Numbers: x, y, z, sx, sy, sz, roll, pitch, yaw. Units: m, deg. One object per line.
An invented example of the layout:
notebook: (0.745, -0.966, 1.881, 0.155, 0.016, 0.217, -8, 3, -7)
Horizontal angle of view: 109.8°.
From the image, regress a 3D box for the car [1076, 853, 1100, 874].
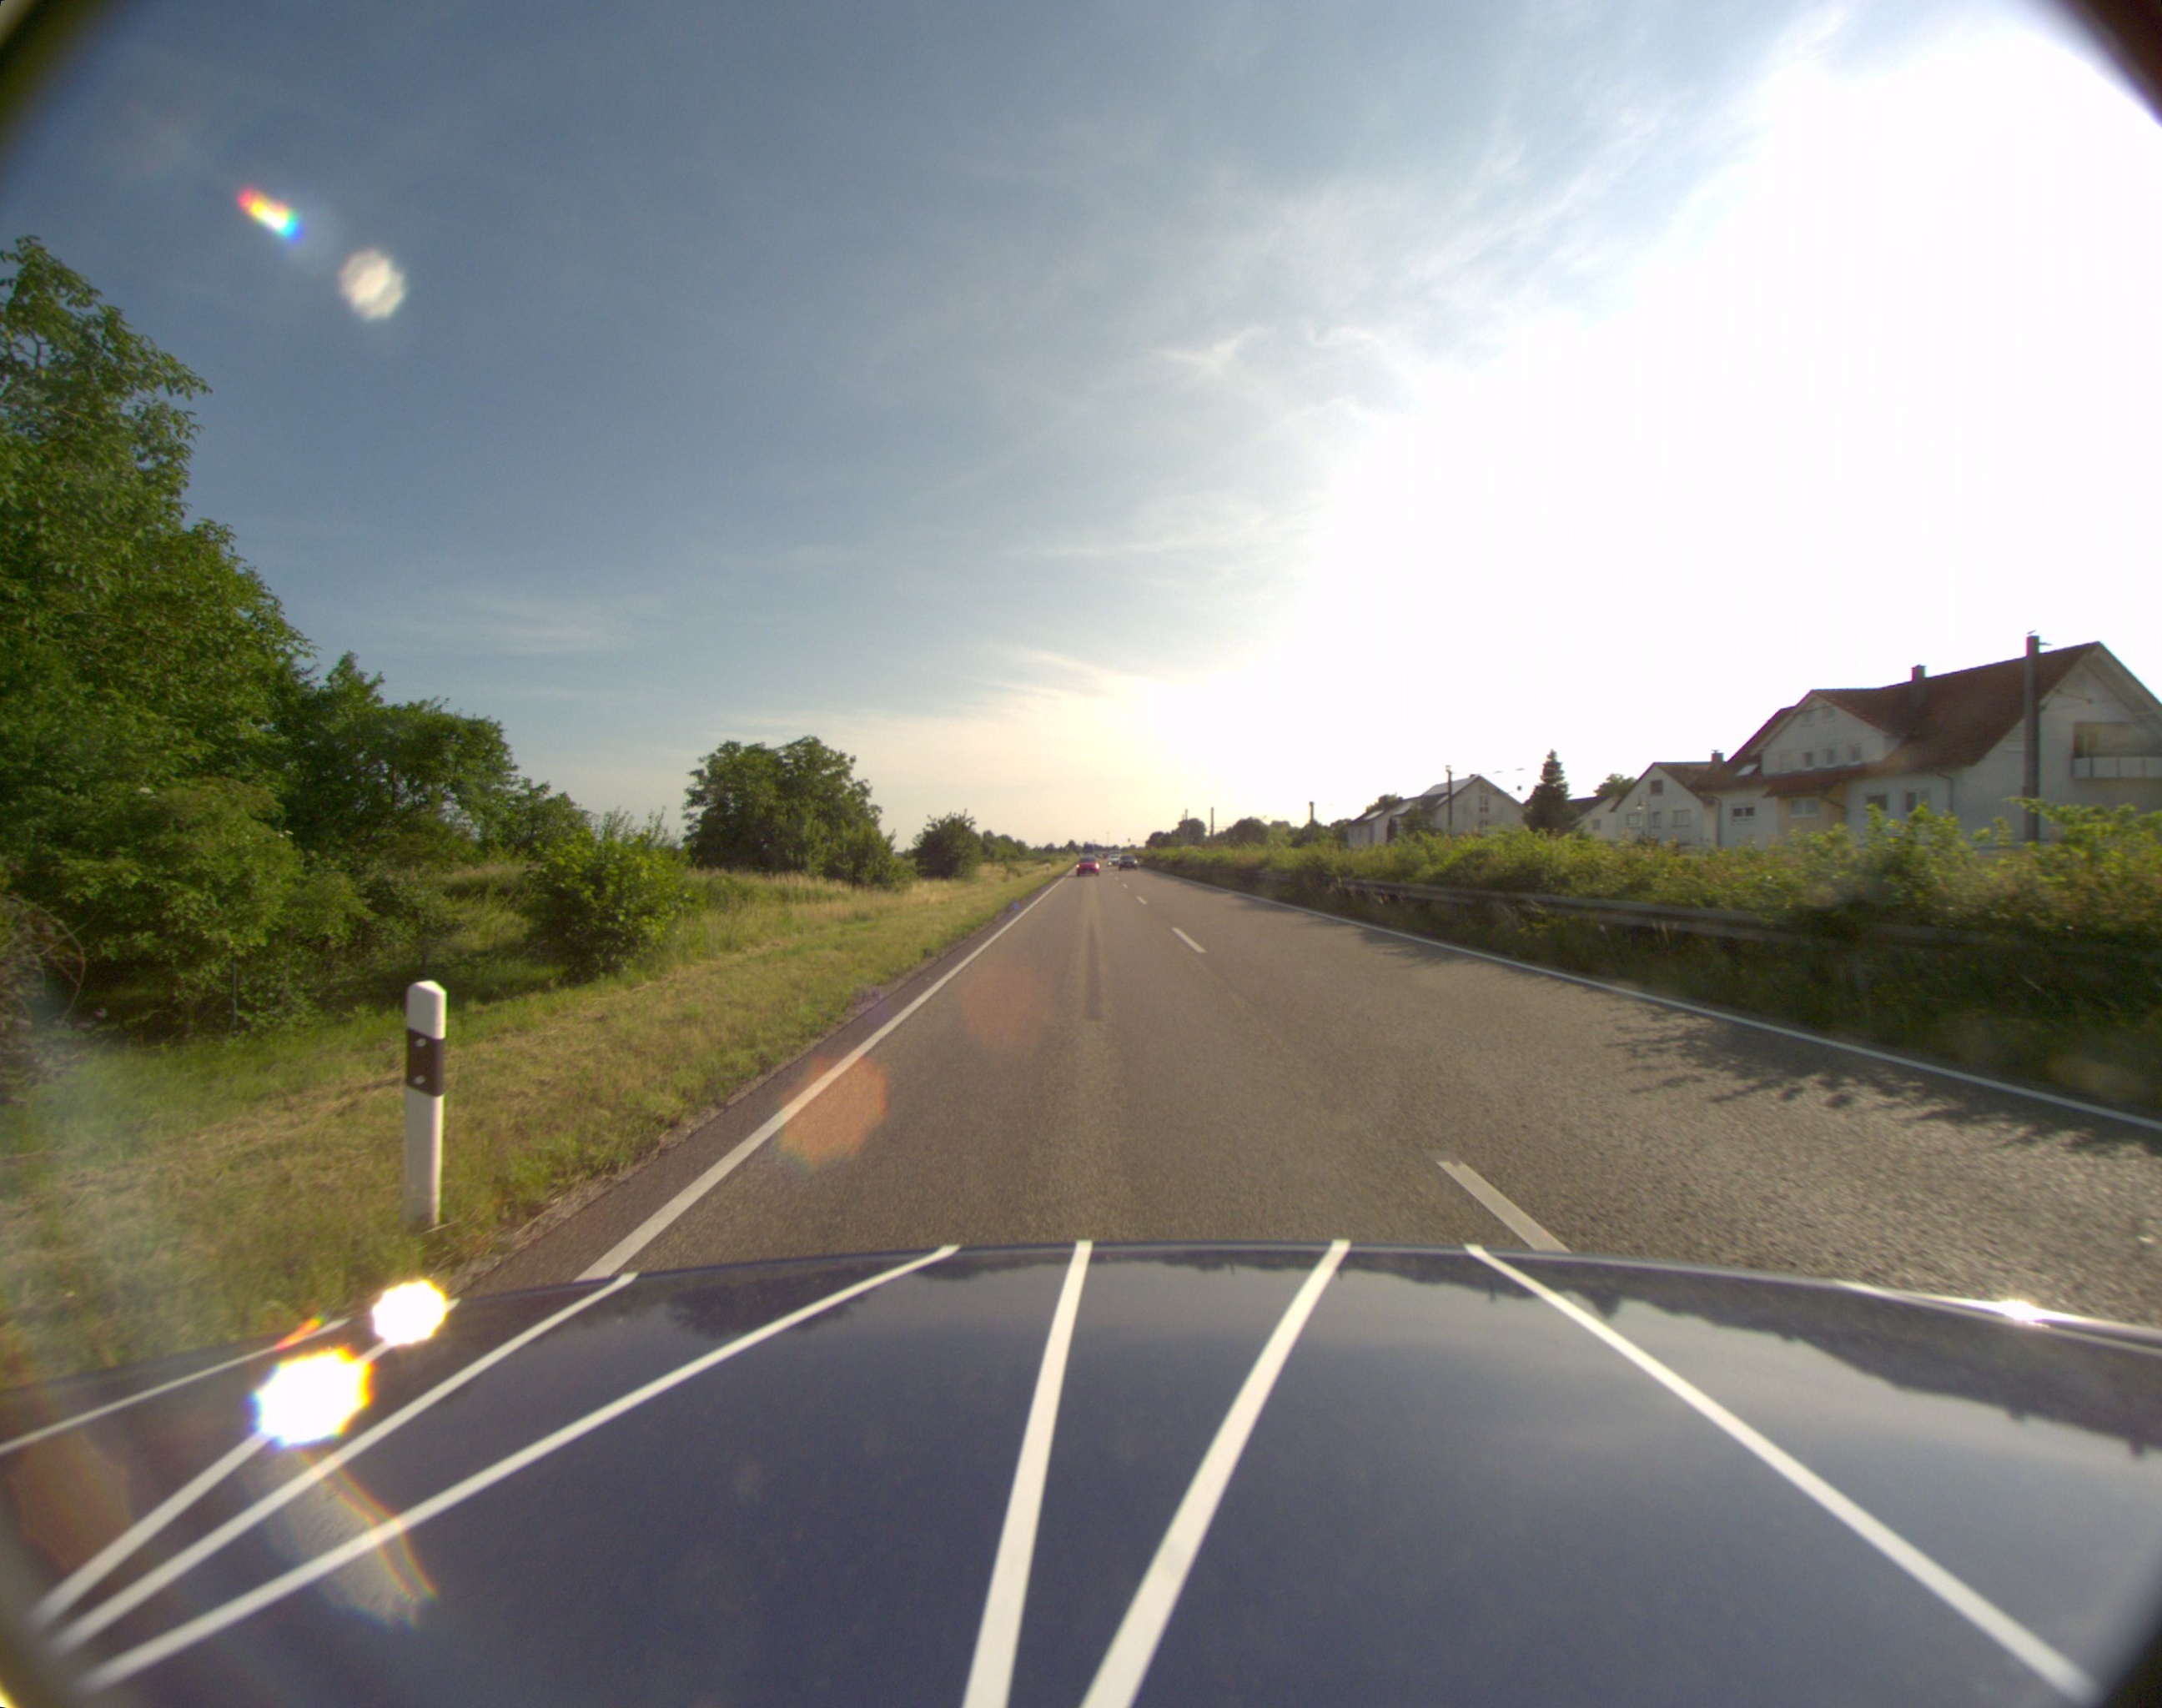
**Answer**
car: (0.580, 0.702, 57.965, 1.735, 1.467, 4.000, -3, 0, 1)

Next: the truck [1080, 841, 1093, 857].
truck: (1.412, -1.318, 194.541, 2.849, 3.896, 10.103, -3, 0, 1)

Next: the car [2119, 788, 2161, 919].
car: (17.433, -0.035, 10.026, 1.998, 2.002, 4.000, -3, 1, 1)

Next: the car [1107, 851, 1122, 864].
car: (4.224, 0.410, 96.307, 1.636, 1.442, 4.000, -3, 0, 1)

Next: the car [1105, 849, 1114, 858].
car: (6.379, -0.148, 172.430, 1.998, 2.002, 4.000, -2, 0, 1)

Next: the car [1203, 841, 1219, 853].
car: (20.837, -1.117, 121.876, 1.998, 1.740, 4.000, -3, 0, 1)

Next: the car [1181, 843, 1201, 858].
car: (15.108, -0.515, 104.447, 1.998, 2.002, 4.871, -3, 0, 1)

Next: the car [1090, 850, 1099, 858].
car: (2.766, -0.011, 156.199, 1.636, 1.442, 4.000, -3, 0, 1)

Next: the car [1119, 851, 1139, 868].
car: (4.567, 0.487, 72.710, 1.636, 1.500, 4.000, -3, 0, 1)
